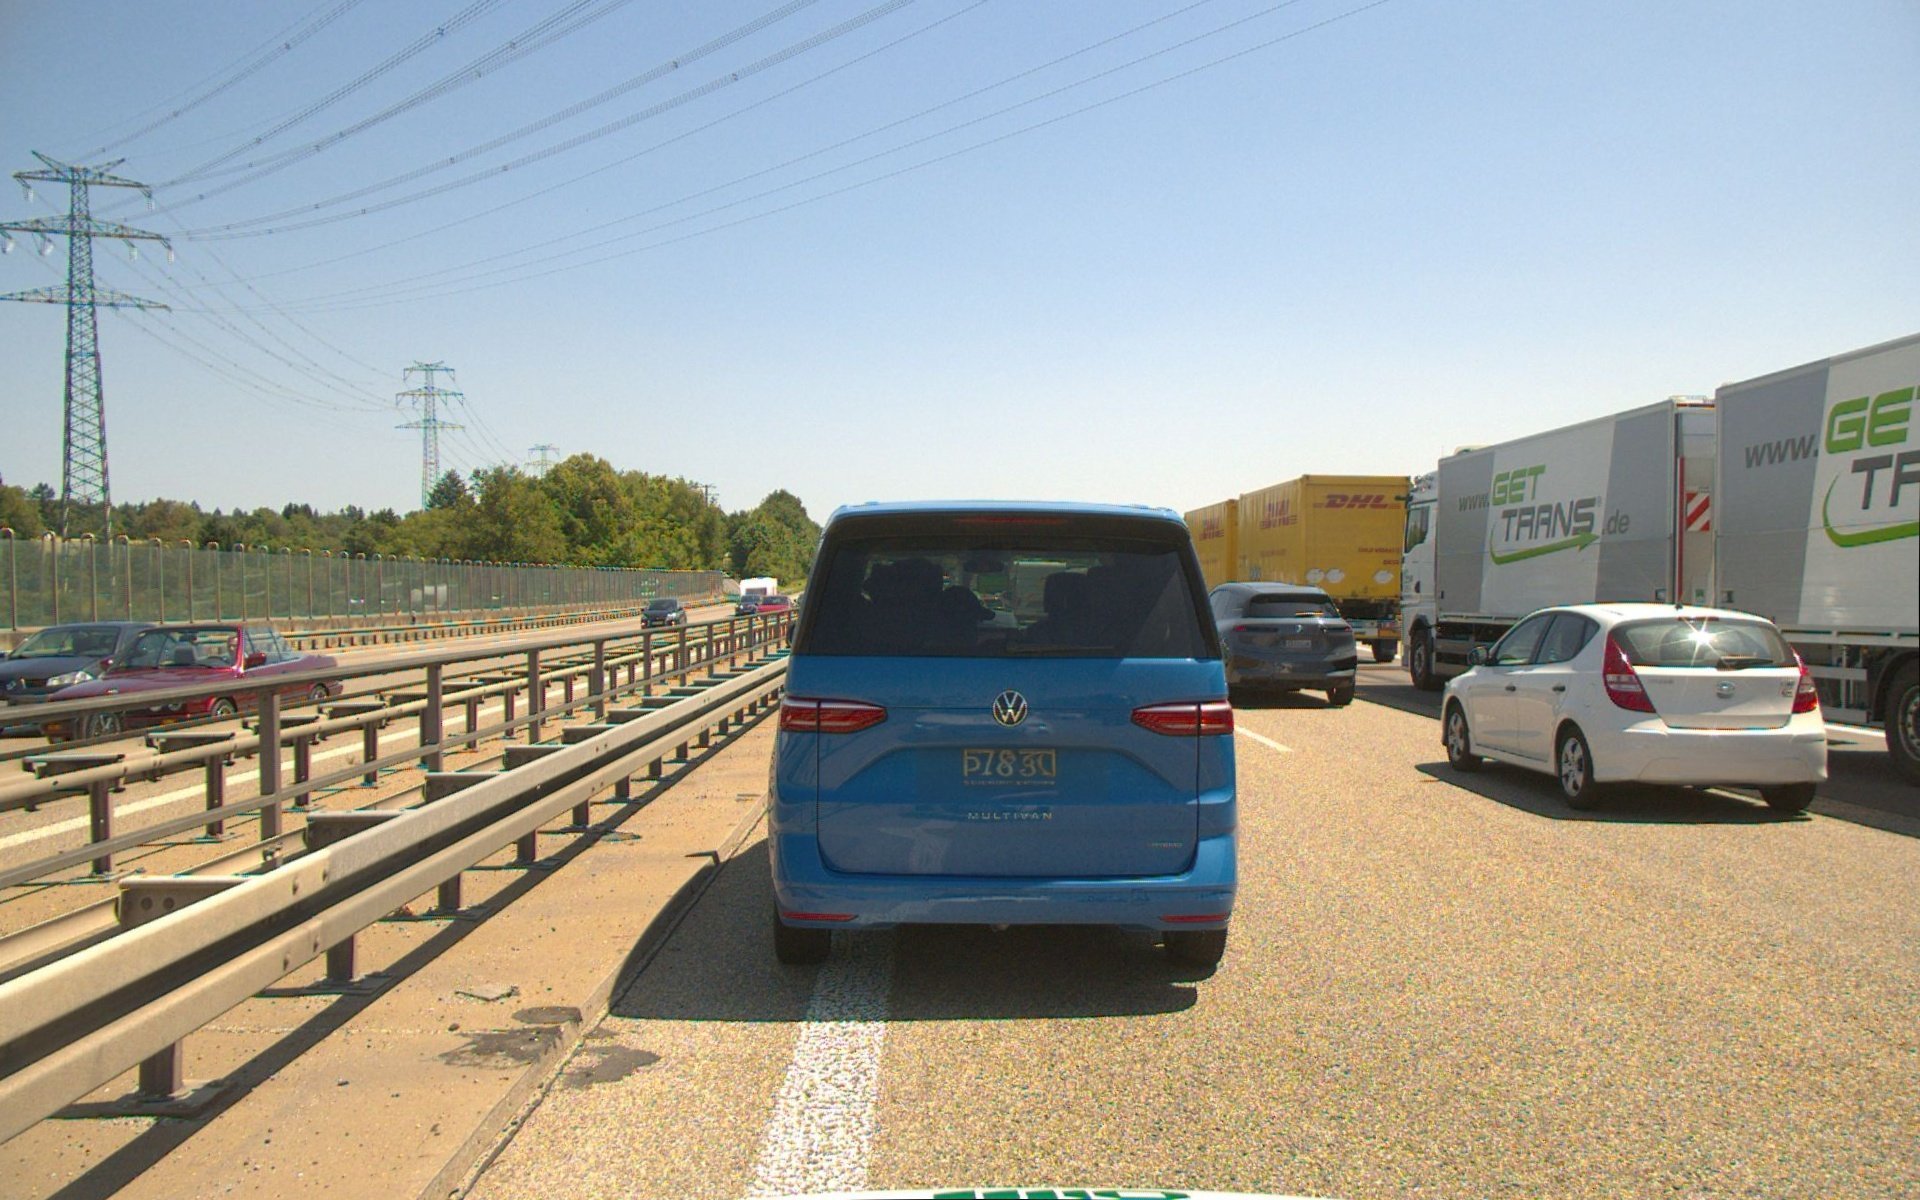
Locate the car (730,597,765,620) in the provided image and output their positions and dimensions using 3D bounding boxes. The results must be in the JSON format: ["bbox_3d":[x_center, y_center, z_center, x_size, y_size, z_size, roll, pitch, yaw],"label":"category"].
[{"bbox_3d":[-14.181,0.549,110.766,1.739,1.432,4.681,-2,0,-1],"label":"car"}]

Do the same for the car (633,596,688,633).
[{"bbox_3d":[-13.427,0.624,74.345,1.695,1.517,4.418,-2,0,-1],"label":"car"}]

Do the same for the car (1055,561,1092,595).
[{"bbox_3d":[7.091,-1.348,103.372,1.953,2.049,4.460,-1,0,-1],"label":"car"}]

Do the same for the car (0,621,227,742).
[{"bbox_3d":[-11.725,1.048,22.608,1.565,1.373,4.178,-2,0,-1],"label":"car"}]

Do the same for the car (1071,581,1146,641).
[{"bbox_3d":[4.673,0.330,52.598,1.953,1.847,3.999,0,0,-1],"label":"car"}]

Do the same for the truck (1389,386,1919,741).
[{"bbox_3d":[8.750,-0.412,22.800,2.603,3.711,11.008,0,0,-1],"label":"truck"}]

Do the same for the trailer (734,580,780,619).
[{"bbox_3d":[-14.243,-0.047,116.529,2.442,2.593,6.773,-2,0,-1],"label":"trailer"}]

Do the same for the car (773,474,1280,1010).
[{"bbox_3d":[0.217,0.509,7.947,1.783,1.890,4.074,1,0,-1],"label":"car"}]

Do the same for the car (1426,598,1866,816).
[{"bbox_3d":[5.310,0.729,13.478,1.752,1.481,4.292,0,0,-1],"label":"car"}]

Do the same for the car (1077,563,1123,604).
[{"bbox_3d":[7.243,-0.836,85.800,1.953,2.049,3.999,1,0,-1],"label":"car"}]

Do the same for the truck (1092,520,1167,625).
[{"bbox_3d":[7.722,-1.213,76.031,2.613,4.562,6.848,1,0,-1],"label":"truck"}]

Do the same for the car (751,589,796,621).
[{"bbox_3d":[-9.316,0.234,82.752,1.755,1.504,3.988,-2,0,-1],"label":"car"}]

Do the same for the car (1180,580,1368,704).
[{"bbox_3d":[4.550,0.560,24.594,1.922,1.673,4.292,0,0,-1],"label":"car"}]

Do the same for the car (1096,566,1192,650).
[{"bbox_3d":[4.634,0.186,42.226,1.922,2.028,4.292,0,0,-1],"label":"car"}]

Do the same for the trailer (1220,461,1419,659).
[{"bbox_3d":[8.634,-0.872,40.984,2.806,4.313,9.009,1,0,-1],"label":"trailer"}]

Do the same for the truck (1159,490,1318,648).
[{"bbox_3d":[8.348,-0.865,51.051,2.778,4.317,11.007,1,0,-1],"label":"truck"}]

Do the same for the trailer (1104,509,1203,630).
[{"bbox_3d":[7.858,-1.192,68.607,2.583,4.595,11.299,1,0,-1],"label":"trailer"}]

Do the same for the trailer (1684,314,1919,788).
[{"bbox_3d":[8.953,-0.389,13.277,2.643,3.765,8.012,0,0,-1],"label":"trailer"}]

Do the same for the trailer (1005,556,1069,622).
[{"bbox_3d":[3.731,-0.496,82.173,2.517,3.042,10.661,1,0,-1],"label":"trailer"}]

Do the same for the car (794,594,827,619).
[{"bbox_3d":[-9.495,0.412,105.024,1.634,1.473,4.000,-3,0,0],"label":"car"}]

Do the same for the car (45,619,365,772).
[{"bbox_3d":[-8.078,0.952,18.154,1.565,1.341,4.340,-2,0,-1],"label":"car"}]
